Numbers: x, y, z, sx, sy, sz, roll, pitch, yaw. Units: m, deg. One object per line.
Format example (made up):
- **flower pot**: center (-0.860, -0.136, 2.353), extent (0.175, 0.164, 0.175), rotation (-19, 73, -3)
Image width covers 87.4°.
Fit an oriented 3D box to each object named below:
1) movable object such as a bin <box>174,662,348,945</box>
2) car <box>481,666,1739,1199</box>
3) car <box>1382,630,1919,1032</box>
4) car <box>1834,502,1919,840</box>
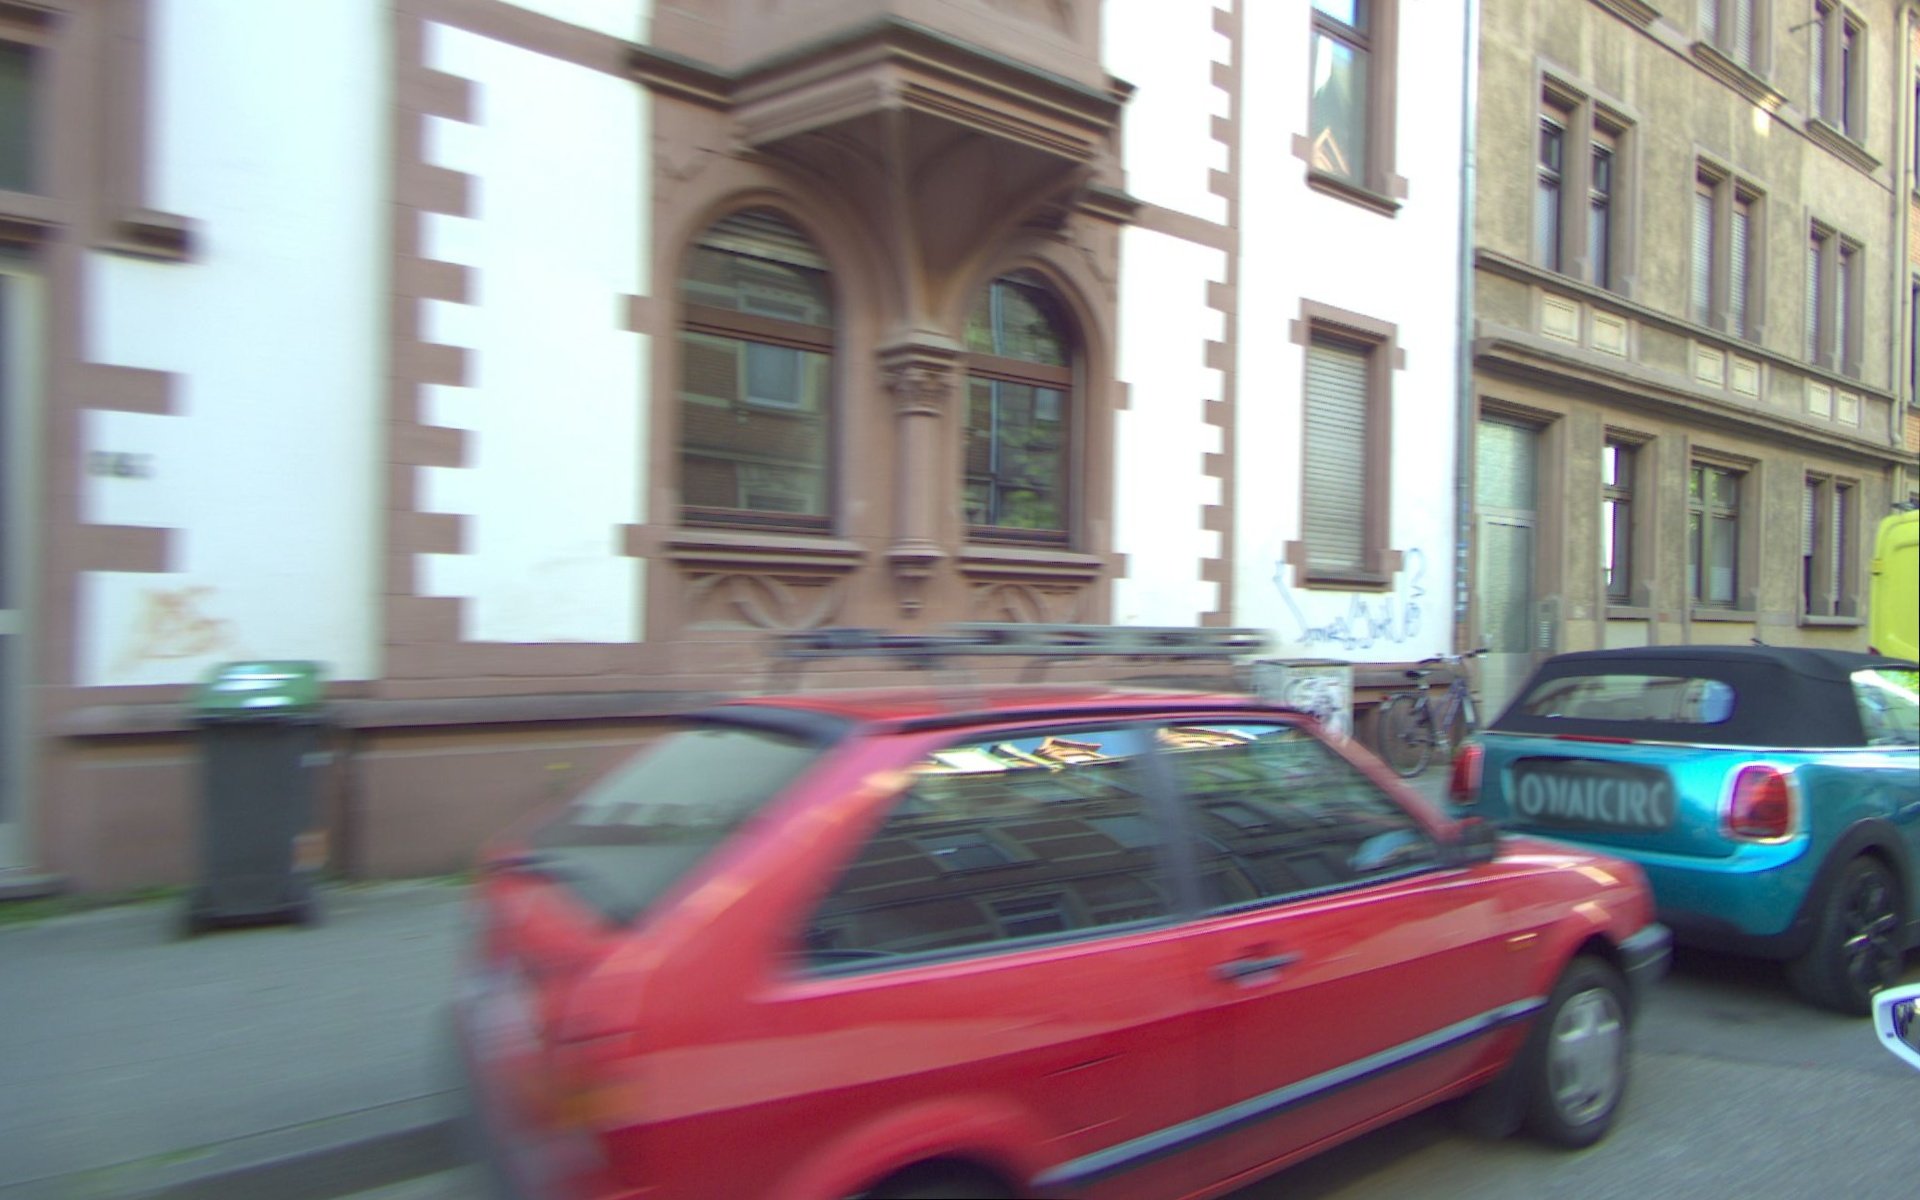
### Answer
- **movable object such as a bin**: center (-2.943, 0.808, 4.248), extent (0.553, 1.040, 0.547), rotation (1, 1, -36)
- **car**: center (0.617, 0.895, 3.037), extent (3.573, 1.344, 1.609), rotation (2, -4, -32)
- **car**: center (4.278, 0.937, 5.303), extent (3.849, 1.431, 1.712), rotation (1, -5, -28)
- **car**: center (10.002, 0.577, 8.590), extent (5.812, 2.540, 2.164), rotation (2, -3, -32)
